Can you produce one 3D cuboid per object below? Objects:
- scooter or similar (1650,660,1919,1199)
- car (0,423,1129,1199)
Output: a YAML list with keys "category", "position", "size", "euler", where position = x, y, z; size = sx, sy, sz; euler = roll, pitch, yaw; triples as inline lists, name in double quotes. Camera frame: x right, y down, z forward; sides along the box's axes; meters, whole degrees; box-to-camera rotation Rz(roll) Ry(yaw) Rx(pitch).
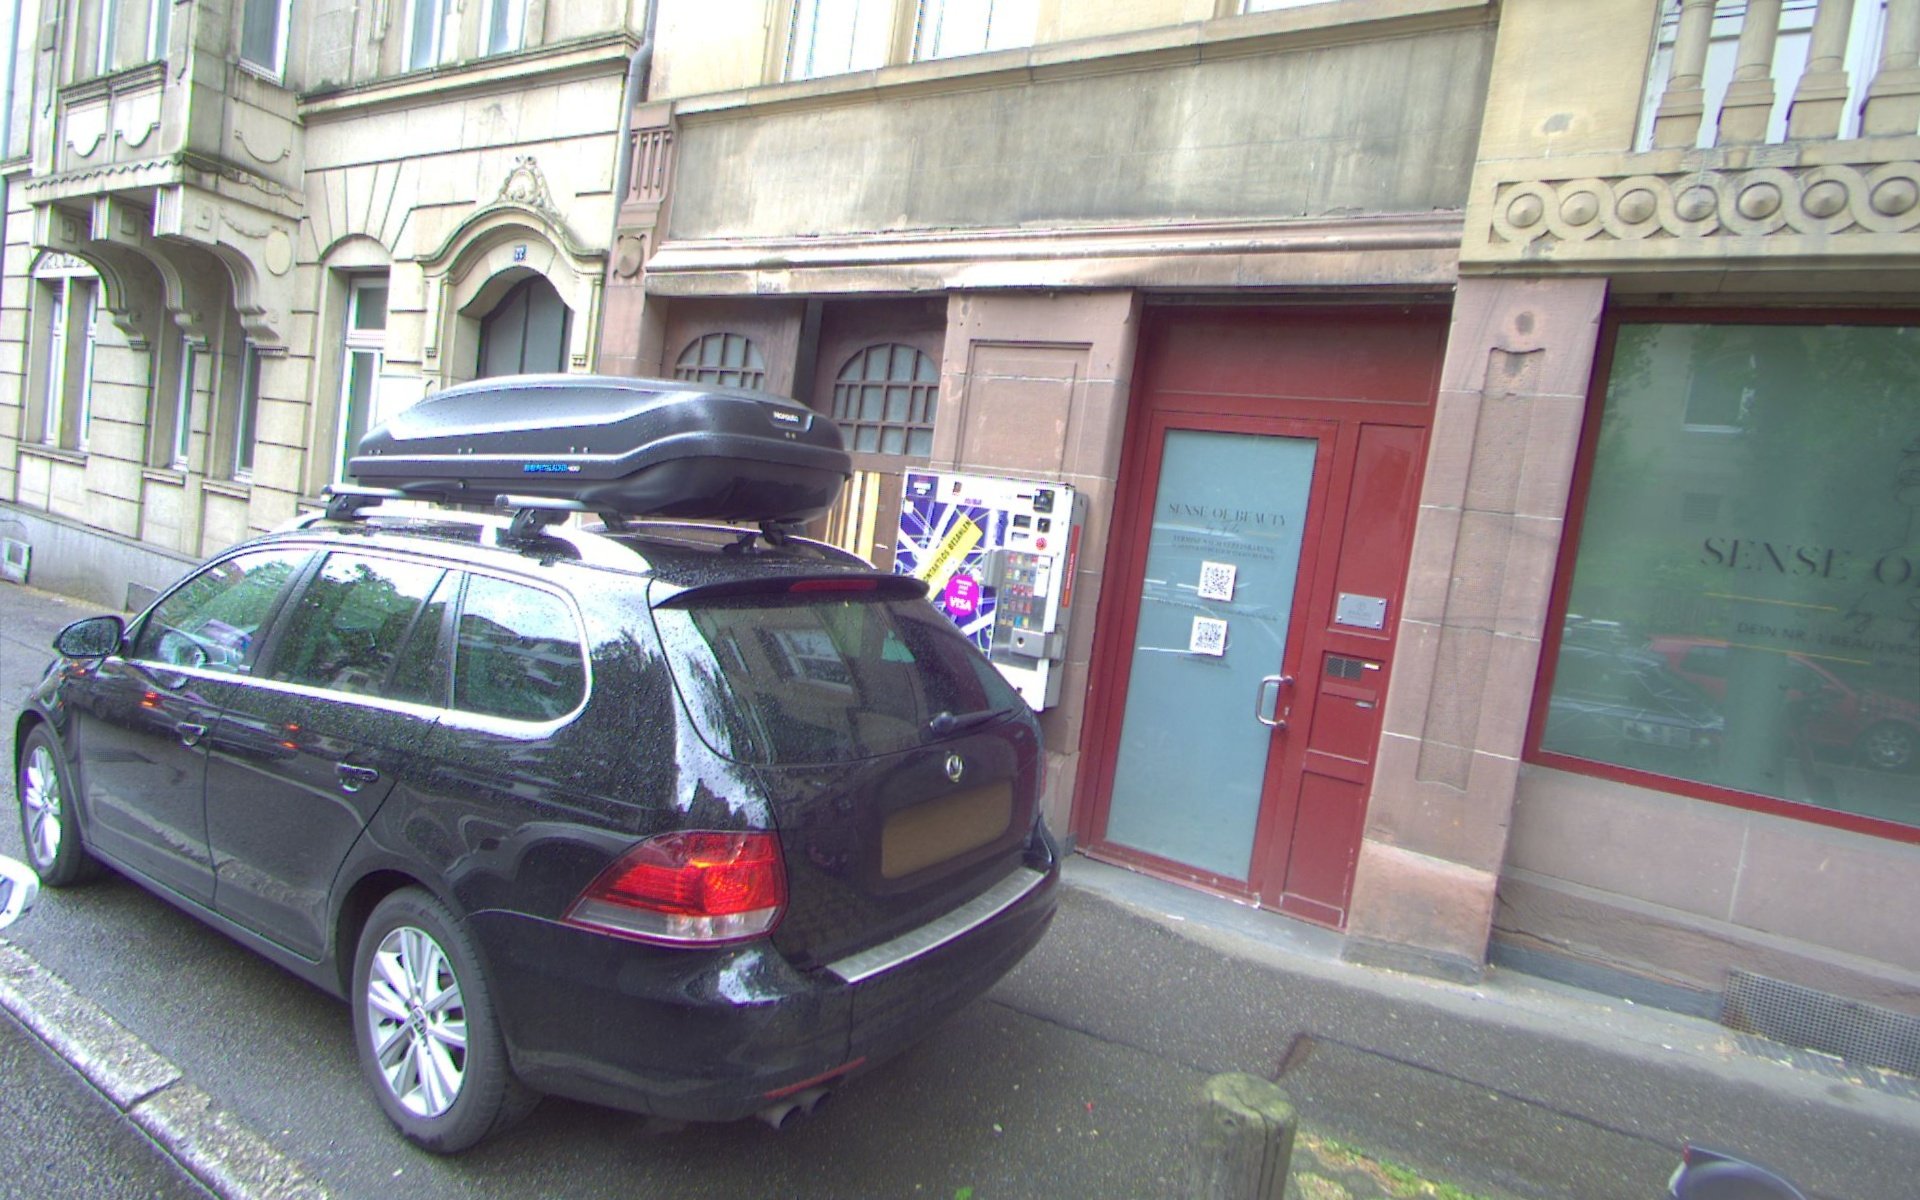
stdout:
- category: "scooter or similar"
  position: [2.129, 0.861, 1.901]
  size: [1.183, 1.336, 0.593]
  euler: [7, 3, 32]
- category: "car"
  position: [-1.690, 0.353, 3.538]
  size: [4.031, 1.675, 1.757]
  euler: [7, 6, 32]
